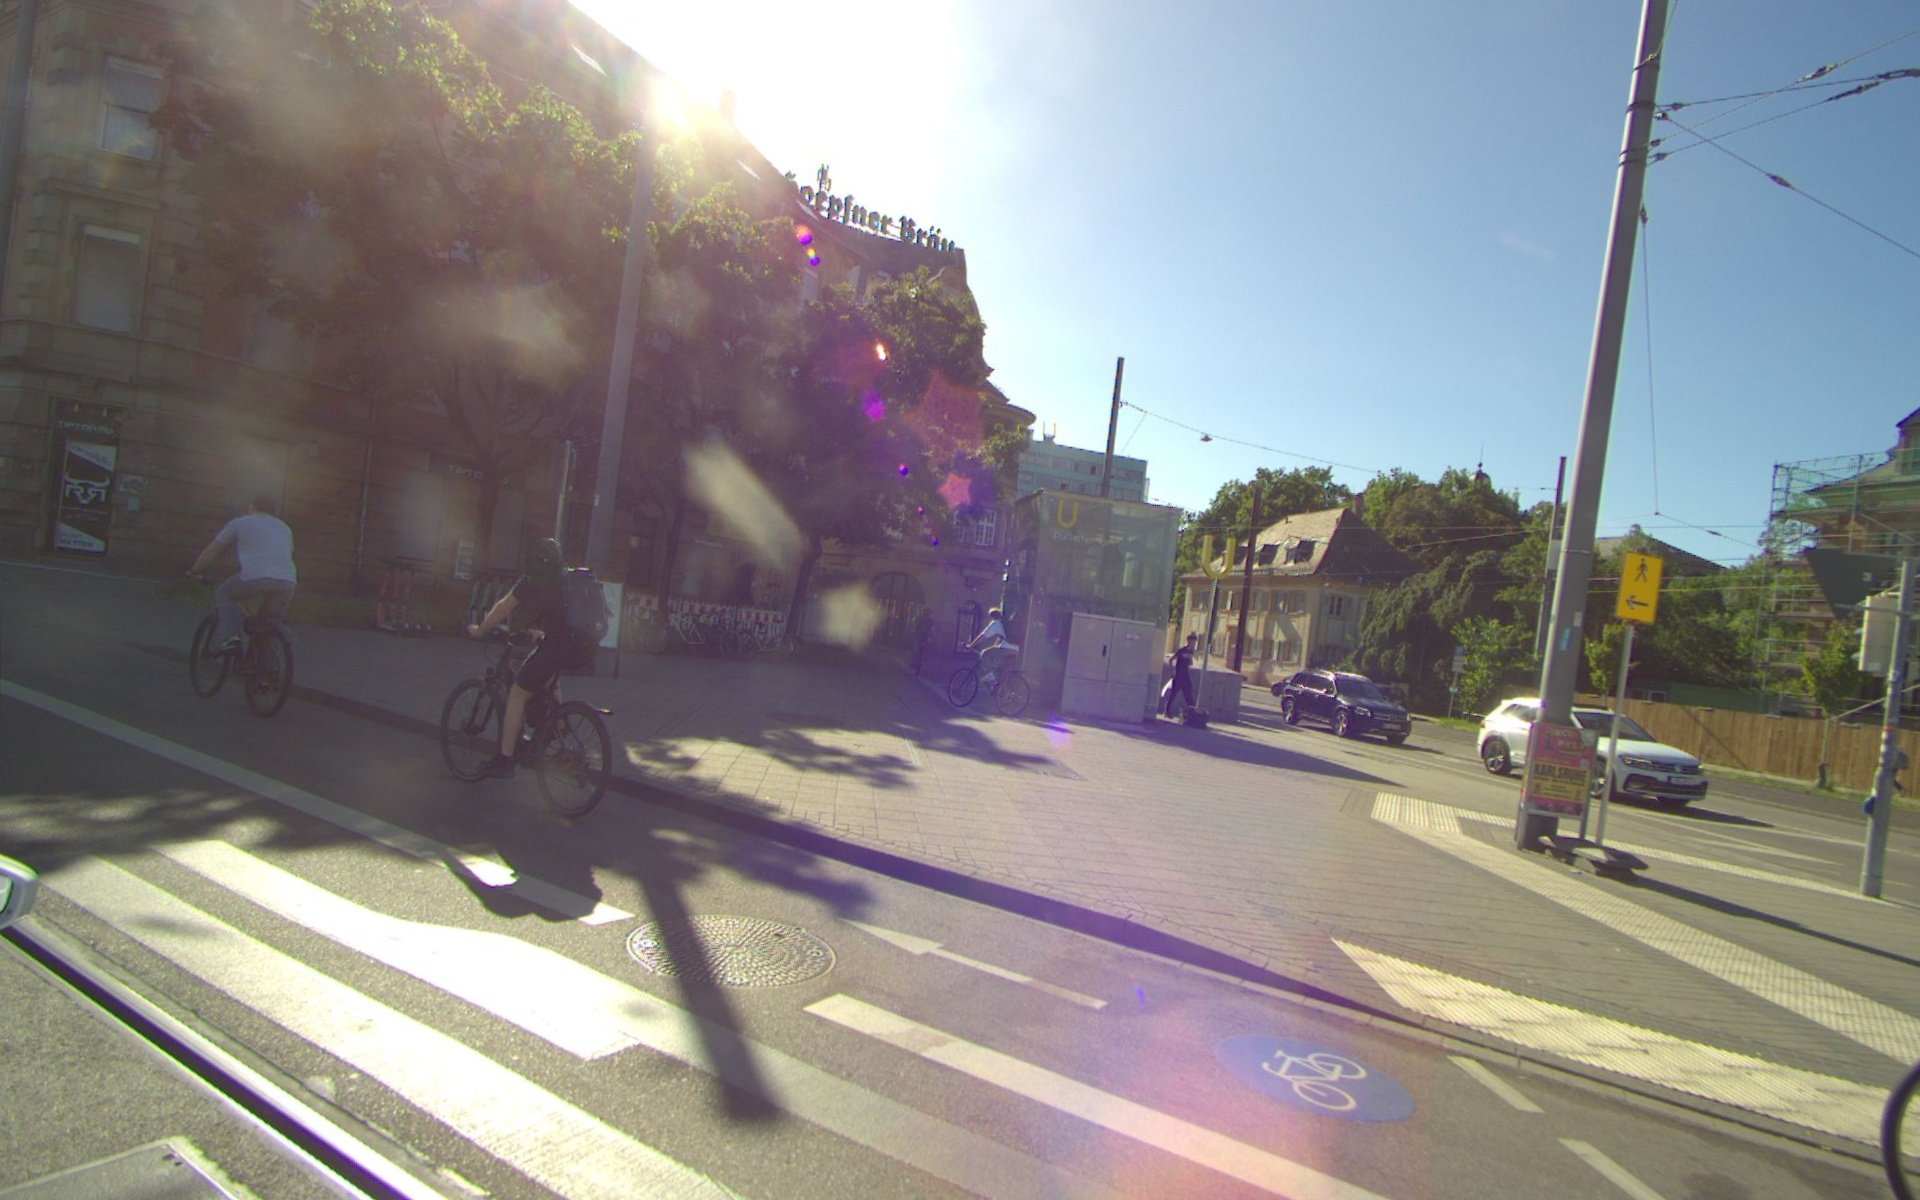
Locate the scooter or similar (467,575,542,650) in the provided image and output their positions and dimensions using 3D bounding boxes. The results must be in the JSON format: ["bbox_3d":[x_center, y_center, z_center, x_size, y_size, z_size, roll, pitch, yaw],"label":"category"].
[{"bbox_3d":[-8.217,0.214,18.119,1.539,1.198,0.271,6,-2,31],"label":"scooter or similar"}]

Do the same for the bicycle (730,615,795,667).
[{"bbox_3d":[-4.778,0.977,24.311,1.435,1.073,0.404,6,-2,24],"label":"bicycle"}]

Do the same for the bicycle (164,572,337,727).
[{"bbox_3d":[-6.101,0.396,8.608,1.901,1.082,0.387,6,0,31],"label":"bicycle"}]

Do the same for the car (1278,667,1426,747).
[{"bbox_3d":[10.781,2.900,28.060,1.885,1.706,4.248,6,-2,-8],"label":"car"}]

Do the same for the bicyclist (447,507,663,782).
[{"bbox_3d":[-2.659,0.284,6.638,0.963,1.631,0.626,6,-2,21],"label":"bicyclist"}]

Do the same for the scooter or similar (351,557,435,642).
[{"bbox_3d":[-9.346,-0.025,16.558,1.675,1.233,0.271,6,-2,31],"label":"scooter or similar"}]

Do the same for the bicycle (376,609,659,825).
[{"bbox_3d":[-2.969,0.729,6.697,1.900,1.131,0.533,6,-1,26],"label":"bicycle"}]

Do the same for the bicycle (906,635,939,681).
[{"bbox_3d":[-1.010,1.506,26.629,0.480,1.070,2.193,8,-2,-9],"label":"bicycle"}]

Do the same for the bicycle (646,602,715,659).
[{"bbox_3d":[-6.158,0.665,22.183,1.326,1.073,0.405,7,-2,15],"label":"bicycle"}]

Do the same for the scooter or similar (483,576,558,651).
[{"bbox_3d":[-8.046,0.236,18.403,1.539,1.209,0.271,6,-2,31],"label":"scooter or similar"}]

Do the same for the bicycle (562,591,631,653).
[{"bbox_3d":[-7.281,0.432,20.128,1.459,1.073,0.403,6,-2,36],"label":"bicycle"}]

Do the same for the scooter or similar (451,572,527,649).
[{"bbox_3d":[-8.363,0.179,17.839,1.539,1.198,0.271,6,-2,31],"label":"scooter or similar"}]

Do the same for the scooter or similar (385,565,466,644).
[{"bbox_3d":[-9.101,0.056,17.105,1.675,1.176,0.271,6,-2,31],"label":"scooter or similar"}]

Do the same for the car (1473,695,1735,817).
[{"bbox_3d":[12.303,2.922,19.628,1.885,1.640,4.248,6,-2,-8],"label":"car"}]

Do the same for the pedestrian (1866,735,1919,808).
[{"bbox_3d":[28.961,5.295,31.020,0.852,2.036,1.084,8,-2,-18],"label":"pedestrian"}]

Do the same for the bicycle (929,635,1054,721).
[{"bbox_3d":[0.486,1.232,16.097,1.904,1.130,0.532,5,-2,36],"label":"bicycle"}]

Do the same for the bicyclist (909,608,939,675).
[{"bbox_3d":[-0.950,1.090,26.621,0.447,1.679,1.045,7,-2,-10],"label":"bicyclist"}]

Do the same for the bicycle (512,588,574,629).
[{"bbox_3d":[-10.939,0.231,26.442,0.398,0.866,1.419,6,-3,37],"label":"bicycle"}]

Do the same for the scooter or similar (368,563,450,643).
[{"bbox_3d":[-9.232,0.036,16.829,1.675,1.170,0.271,6,-2,31],"label":"scooter or similar"}]

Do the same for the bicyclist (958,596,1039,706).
[{"bbox_3d":[0.620,0.814,16.072,0.939,1.631,0.598,6,-2,38],"label":"bicyclist"}]

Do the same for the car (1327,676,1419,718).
[{"bbox_3d":[20.821,4.879,50.868,1.973,1.591,3.984,8,-3,-21],"label":"car"}]

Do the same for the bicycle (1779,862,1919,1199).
[{"bbox_3d":[3.776,1.578,3.029,1.897,1.131,0.534,8,0,12],"label":"bicycle"}]

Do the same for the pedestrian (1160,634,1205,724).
[{"bbox_3d":[4.848,1.712,21.925,0.538,1.870,0.649,8,-2,-12],"label":"pedestrian"}]

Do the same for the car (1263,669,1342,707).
[{"bbox_3d":[19.142,4.909,56.355,1.973,1.636,3.984,8,-3,-21],"label":"car"}]

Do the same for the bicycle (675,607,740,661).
[{"bbox_3d":[-5.943,0.793,23.625,1.436,1.073,0.404,6,-2,26],"label":"bicycle"}]

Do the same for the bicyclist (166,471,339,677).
[{"bbox_3d":[-6.026,-0.211,8.584,0.871,1.612,0.783,7,0,31],"label":"bicyclist"}]

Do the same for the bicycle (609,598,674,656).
[{"bbox_3d":[-6.735,0.560,21.243,1.329,1.073,0.404,6,-2,31],"label":"bicycle"}]
